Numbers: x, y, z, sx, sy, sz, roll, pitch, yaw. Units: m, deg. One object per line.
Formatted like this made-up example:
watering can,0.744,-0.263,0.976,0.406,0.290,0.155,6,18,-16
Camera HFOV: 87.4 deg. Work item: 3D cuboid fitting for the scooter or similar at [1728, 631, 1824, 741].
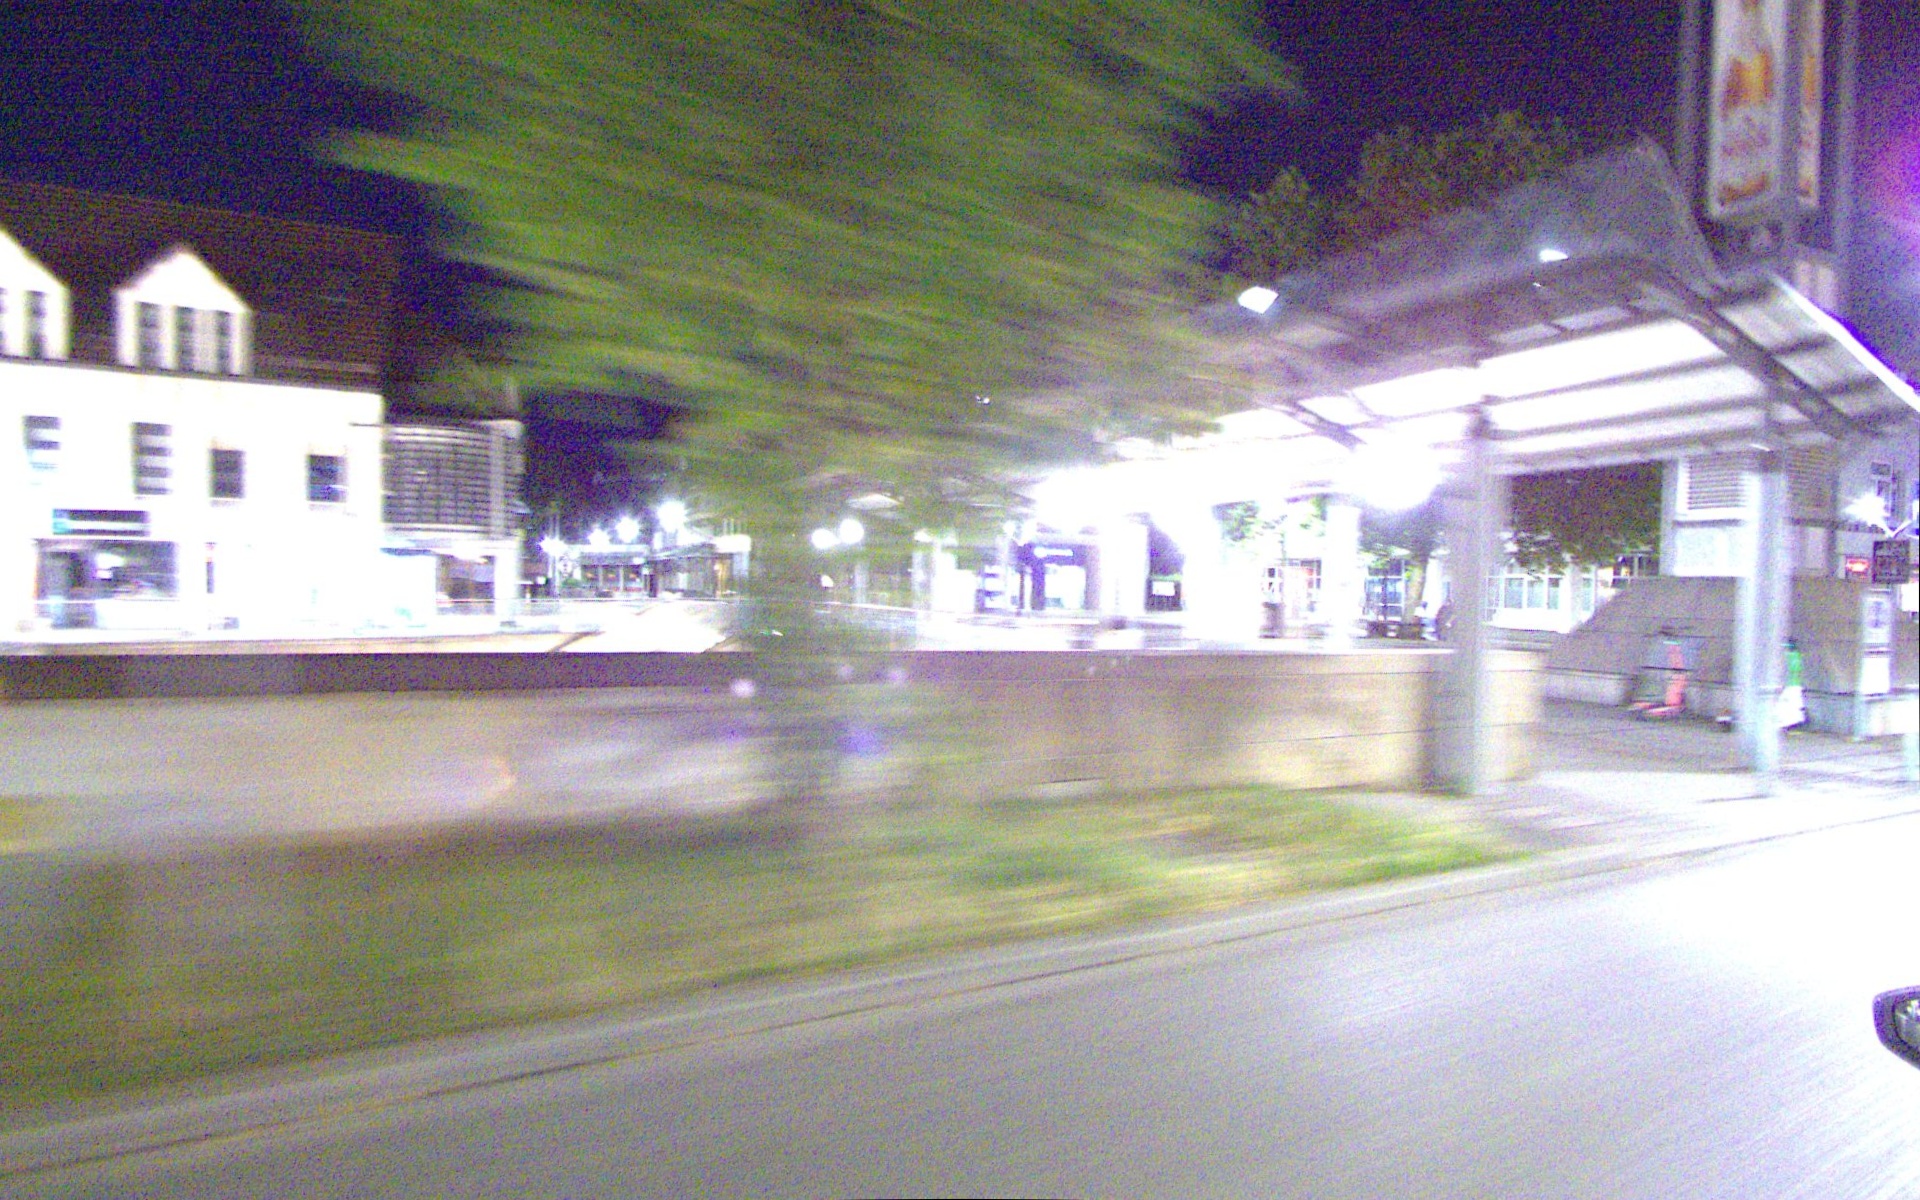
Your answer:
scooter or similar,10.188,1.046,12.537,1.430,1.281,0.367,0,2,-28

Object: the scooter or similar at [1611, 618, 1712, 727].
scooter or similar,9.577,0.959,13.703,1.335,1.398,0.593,0,1,-29

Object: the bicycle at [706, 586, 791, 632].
bicycle,-6.644,0.291,31.648,2.481,1.382,0.769,2,0,-30

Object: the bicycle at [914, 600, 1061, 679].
bicycle,0.495,0.687,17.419,2.437,1.271,0.855,2,0,-30

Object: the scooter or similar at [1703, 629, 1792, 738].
scooter or similar,10.046,1.043,12.802,1.430,1.306,0.316,0,2,-28

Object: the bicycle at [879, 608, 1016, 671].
bicycle,-0.219,0.738,18.771,2.454,1.101,0.855,2,0,-30

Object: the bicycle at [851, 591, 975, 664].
bicycle,-0.922,0.558,20.064,2.385,1.382,0.759,2,0,-30
